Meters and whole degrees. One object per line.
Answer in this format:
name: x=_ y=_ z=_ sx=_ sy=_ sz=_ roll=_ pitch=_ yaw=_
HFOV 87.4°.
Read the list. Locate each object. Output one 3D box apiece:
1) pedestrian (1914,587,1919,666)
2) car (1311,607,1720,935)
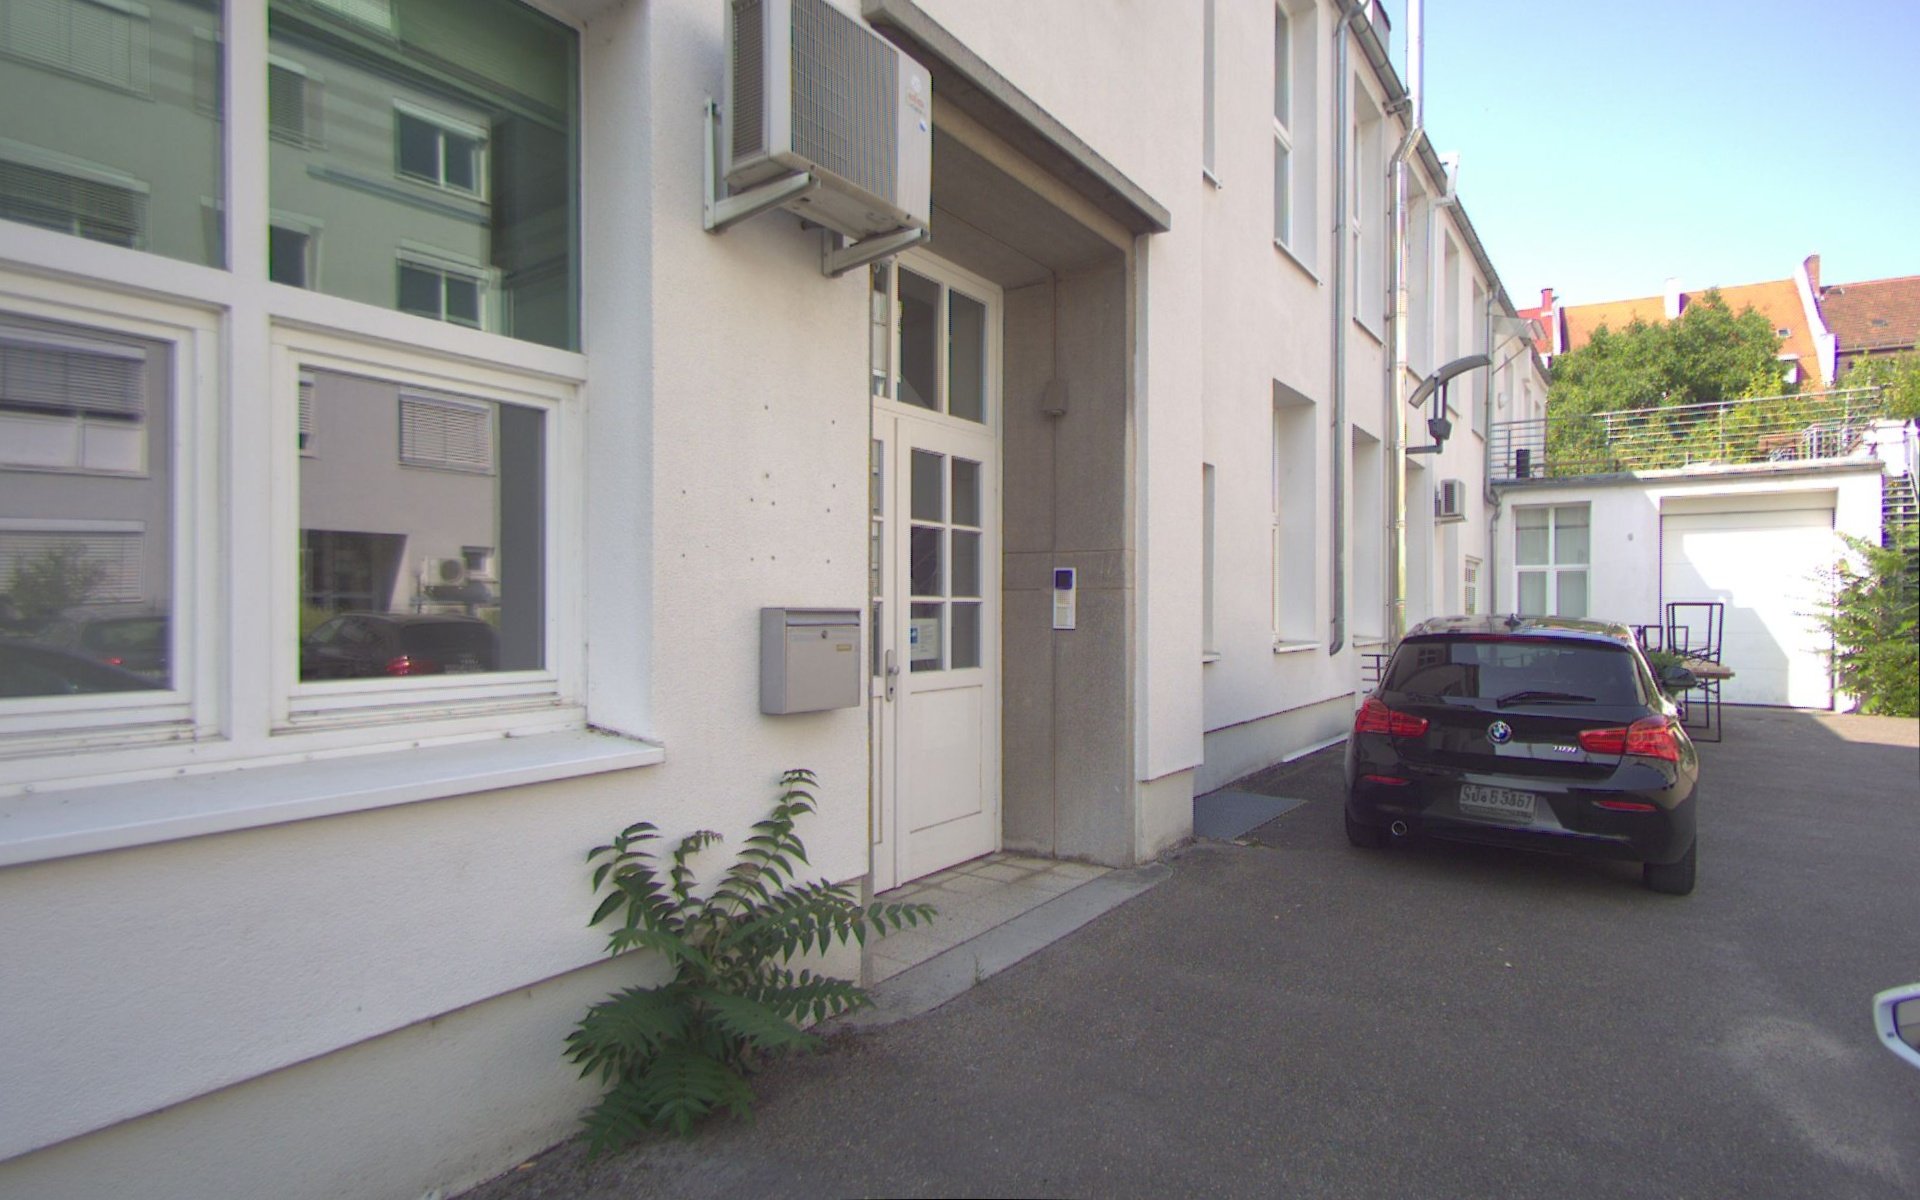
pedestrian: x=22.217 y=0.613 z=22.650 sx=0.603 sy=1.795 sz=0.855 roll=0 pitch=1 yaw=-26
car: x=3.778 y=0.785 z=6.749 sx=1.768 sy=1.447 sz=4.125 roll=1 pitch=0 yaw=33
